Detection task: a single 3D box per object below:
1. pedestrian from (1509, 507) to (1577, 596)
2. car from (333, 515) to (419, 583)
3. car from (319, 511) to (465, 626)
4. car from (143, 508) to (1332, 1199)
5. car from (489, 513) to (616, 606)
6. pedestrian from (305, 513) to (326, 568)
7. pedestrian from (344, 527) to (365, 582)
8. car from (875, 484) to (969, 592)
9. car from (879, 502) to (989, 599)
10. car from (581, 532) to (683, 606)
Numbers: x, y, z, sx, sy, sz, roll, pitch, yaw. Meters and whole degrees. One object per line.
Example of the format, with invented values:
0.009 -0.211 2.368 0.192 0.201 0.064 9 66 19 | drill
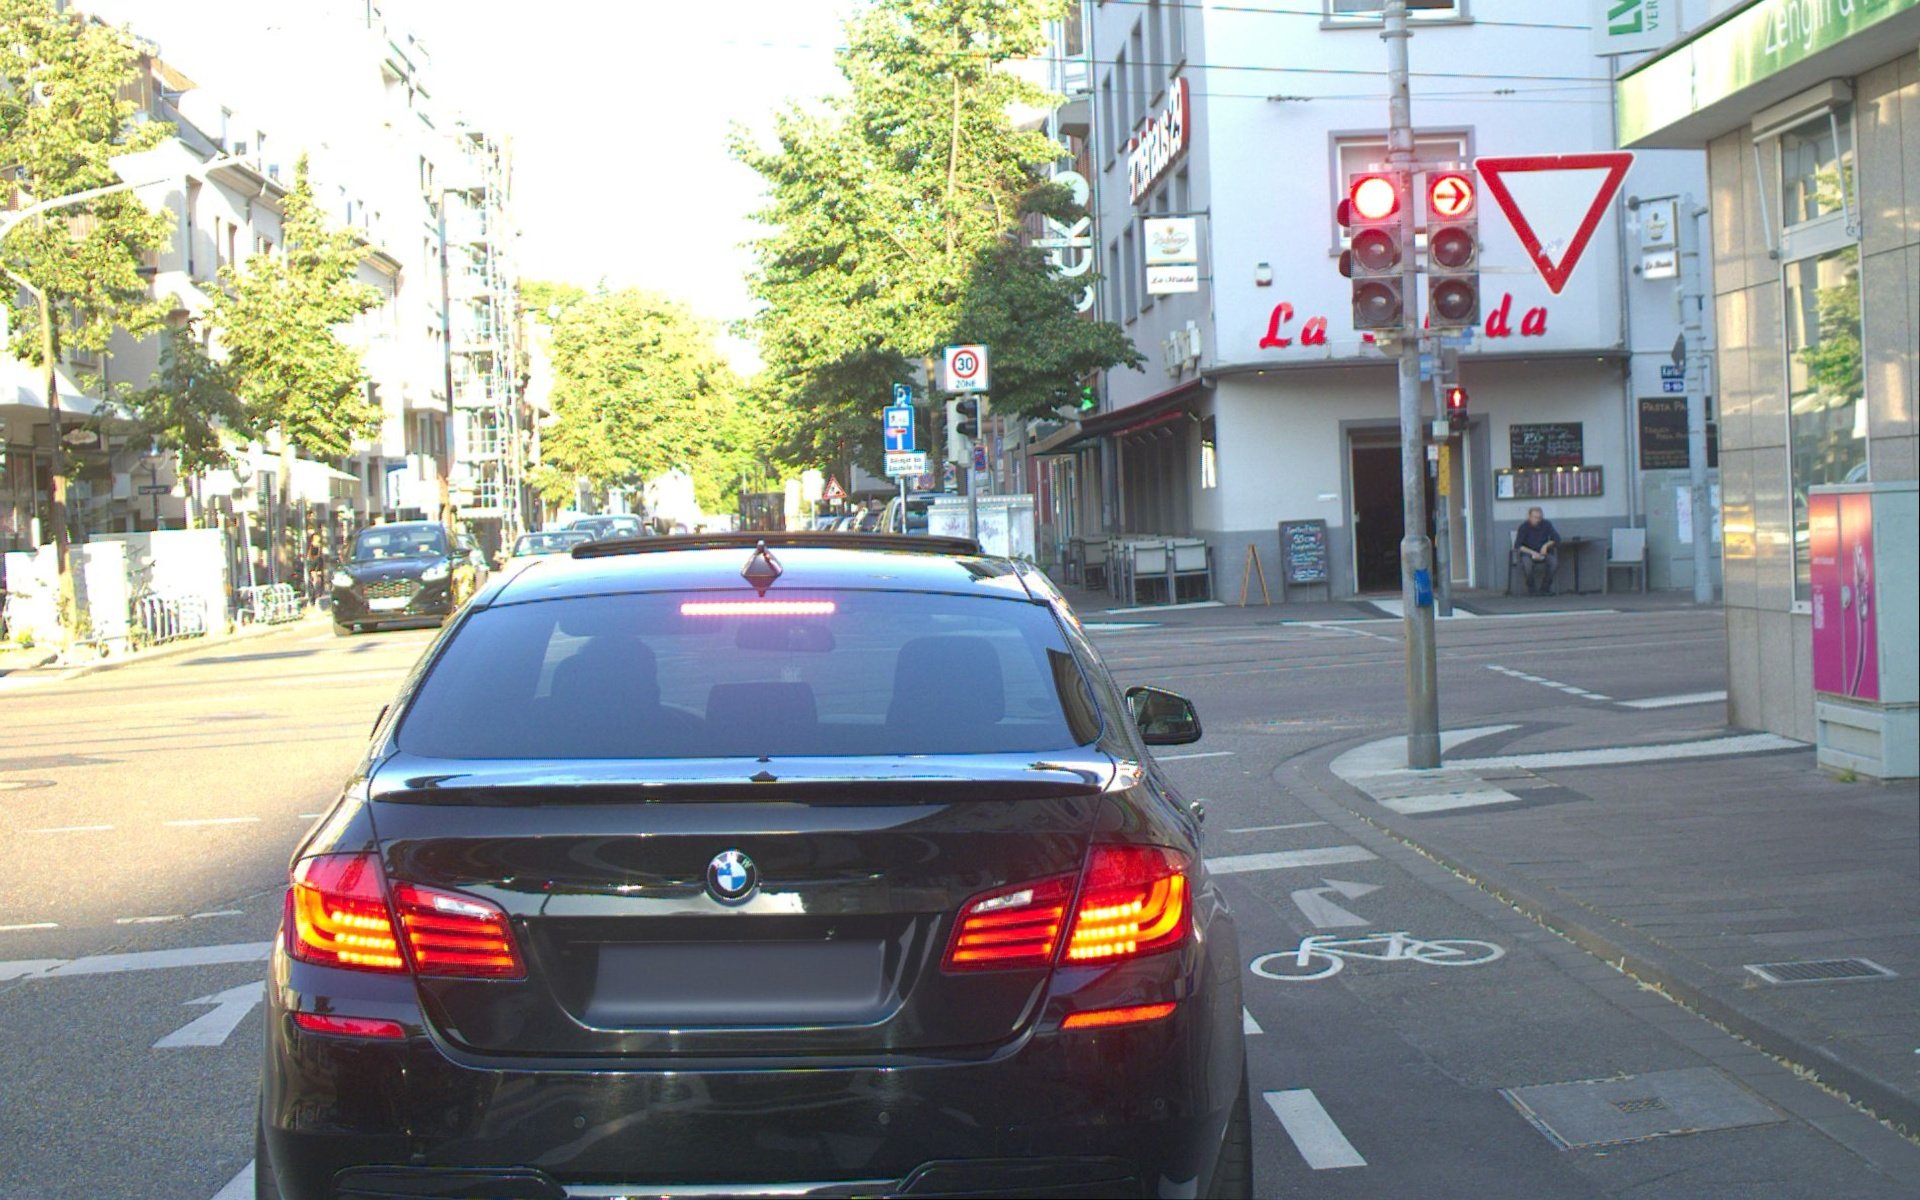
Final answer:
7.866 -0.659 46.424 0.697 1.153 0.844 -2 1 -3 | pedestrian
-13.420 -1.192 79.133 1.733 1.456 4.001 -2 1 -7 | car
-8.602 -0.504 52.351 1.993 1.612 4.001 -2 1 -7 | car
-0.466 0.573 7.765 1.903 1.535 4.450 1 2 -3 | car
-6.867 -0.703 57.789 1.993 1.437 4.001 -2 1 -7 | car
-16.687 -1.546 89.019 0.444 1.411 0.525 -1 1 -4 | pedestrian
-15.873 -1.188 90.093 0.444 1.411 0.525 -2 1 -4 | pedestrian
-0.693 -1.101 61.108 1.421 1.848 3.053 -1 1 -5 | car
-0.444 -0.788 54.712 1.625 1.466 3.395 -1 1 -2 | car
-6.185 -0.604 64.562 1.733 1.288 4.001 -2 1 -7 | car
